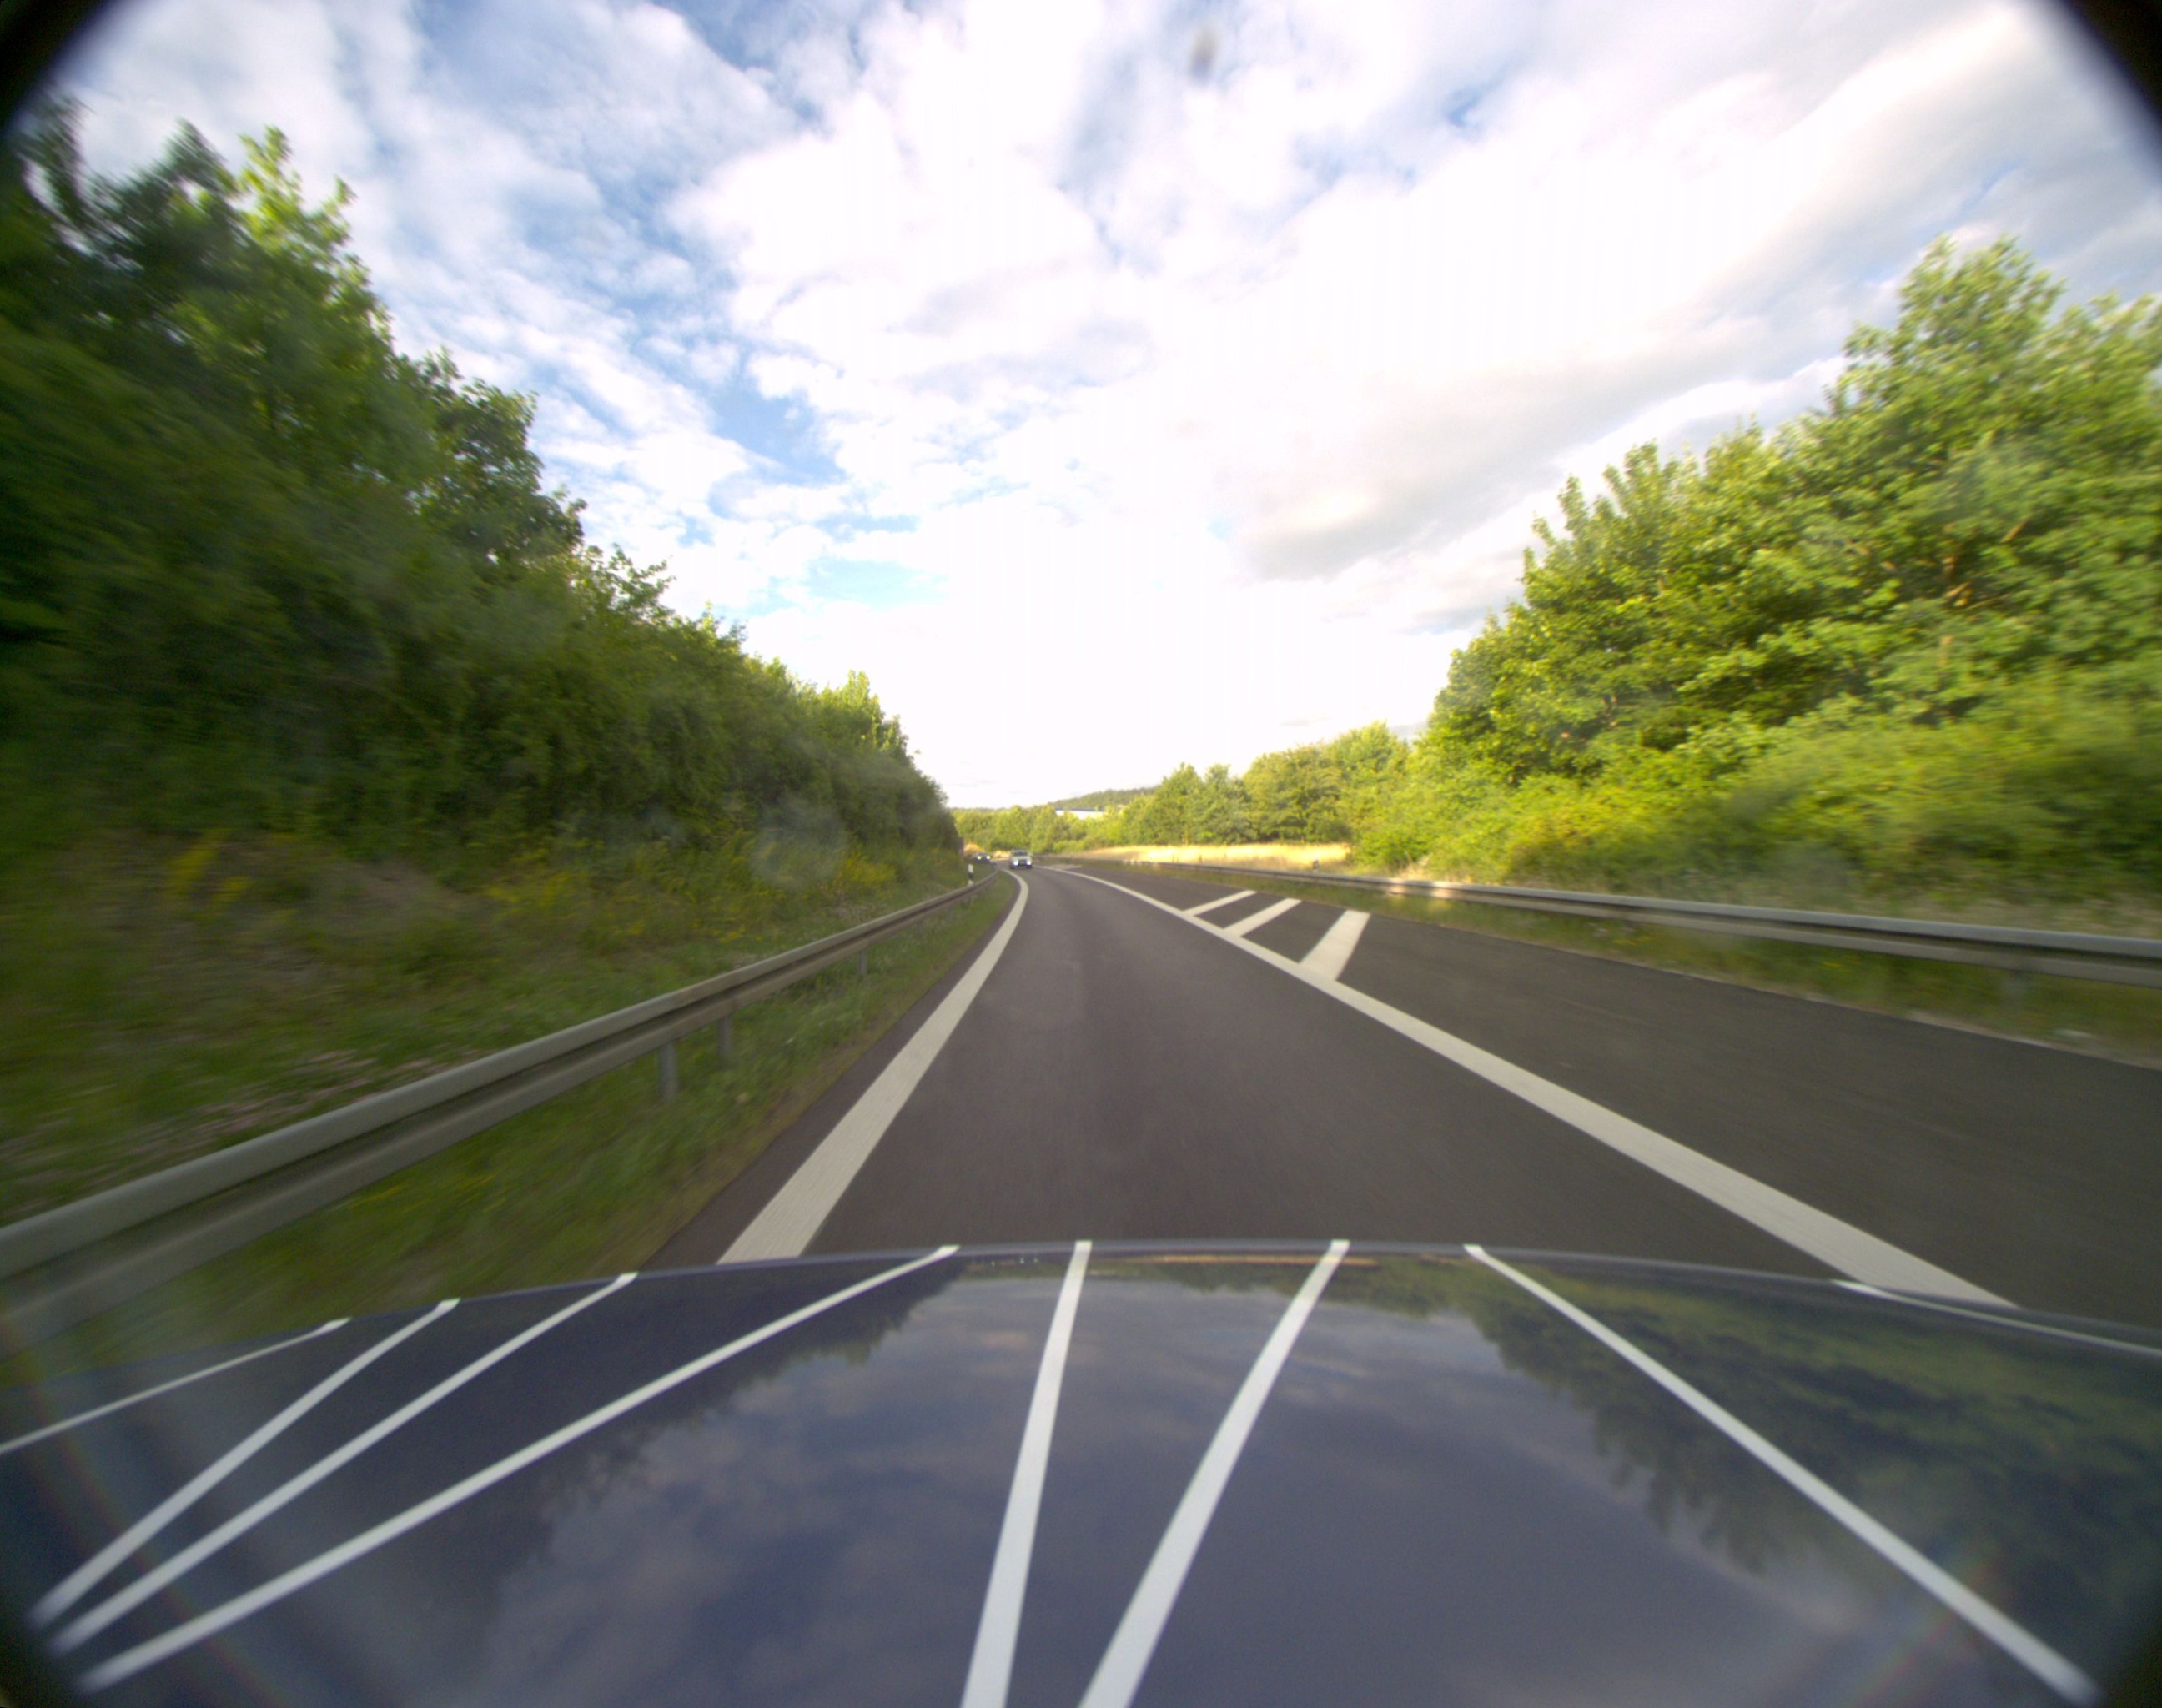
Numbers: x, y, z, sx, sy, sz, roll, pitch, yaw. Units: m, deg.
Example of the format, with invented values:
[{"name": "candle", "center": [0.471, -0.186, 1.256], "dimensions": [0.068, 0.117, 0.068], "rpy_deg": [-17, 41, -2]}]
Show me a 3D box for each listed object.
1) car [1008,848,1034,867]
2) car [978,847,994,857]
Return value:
[{"name": "car", "center": [-5.722, 0.303, 72.288], "dimensions": [1.907, 1.655, 3.995], "rpy_deg": [-4, 1, -12]}, {"name": "car", "center": [-14.165, -0.306, 113.275], "dimensions": [1.622, 1.451, 3.657], "rpy_deg": [-2, 1, -17]}]
